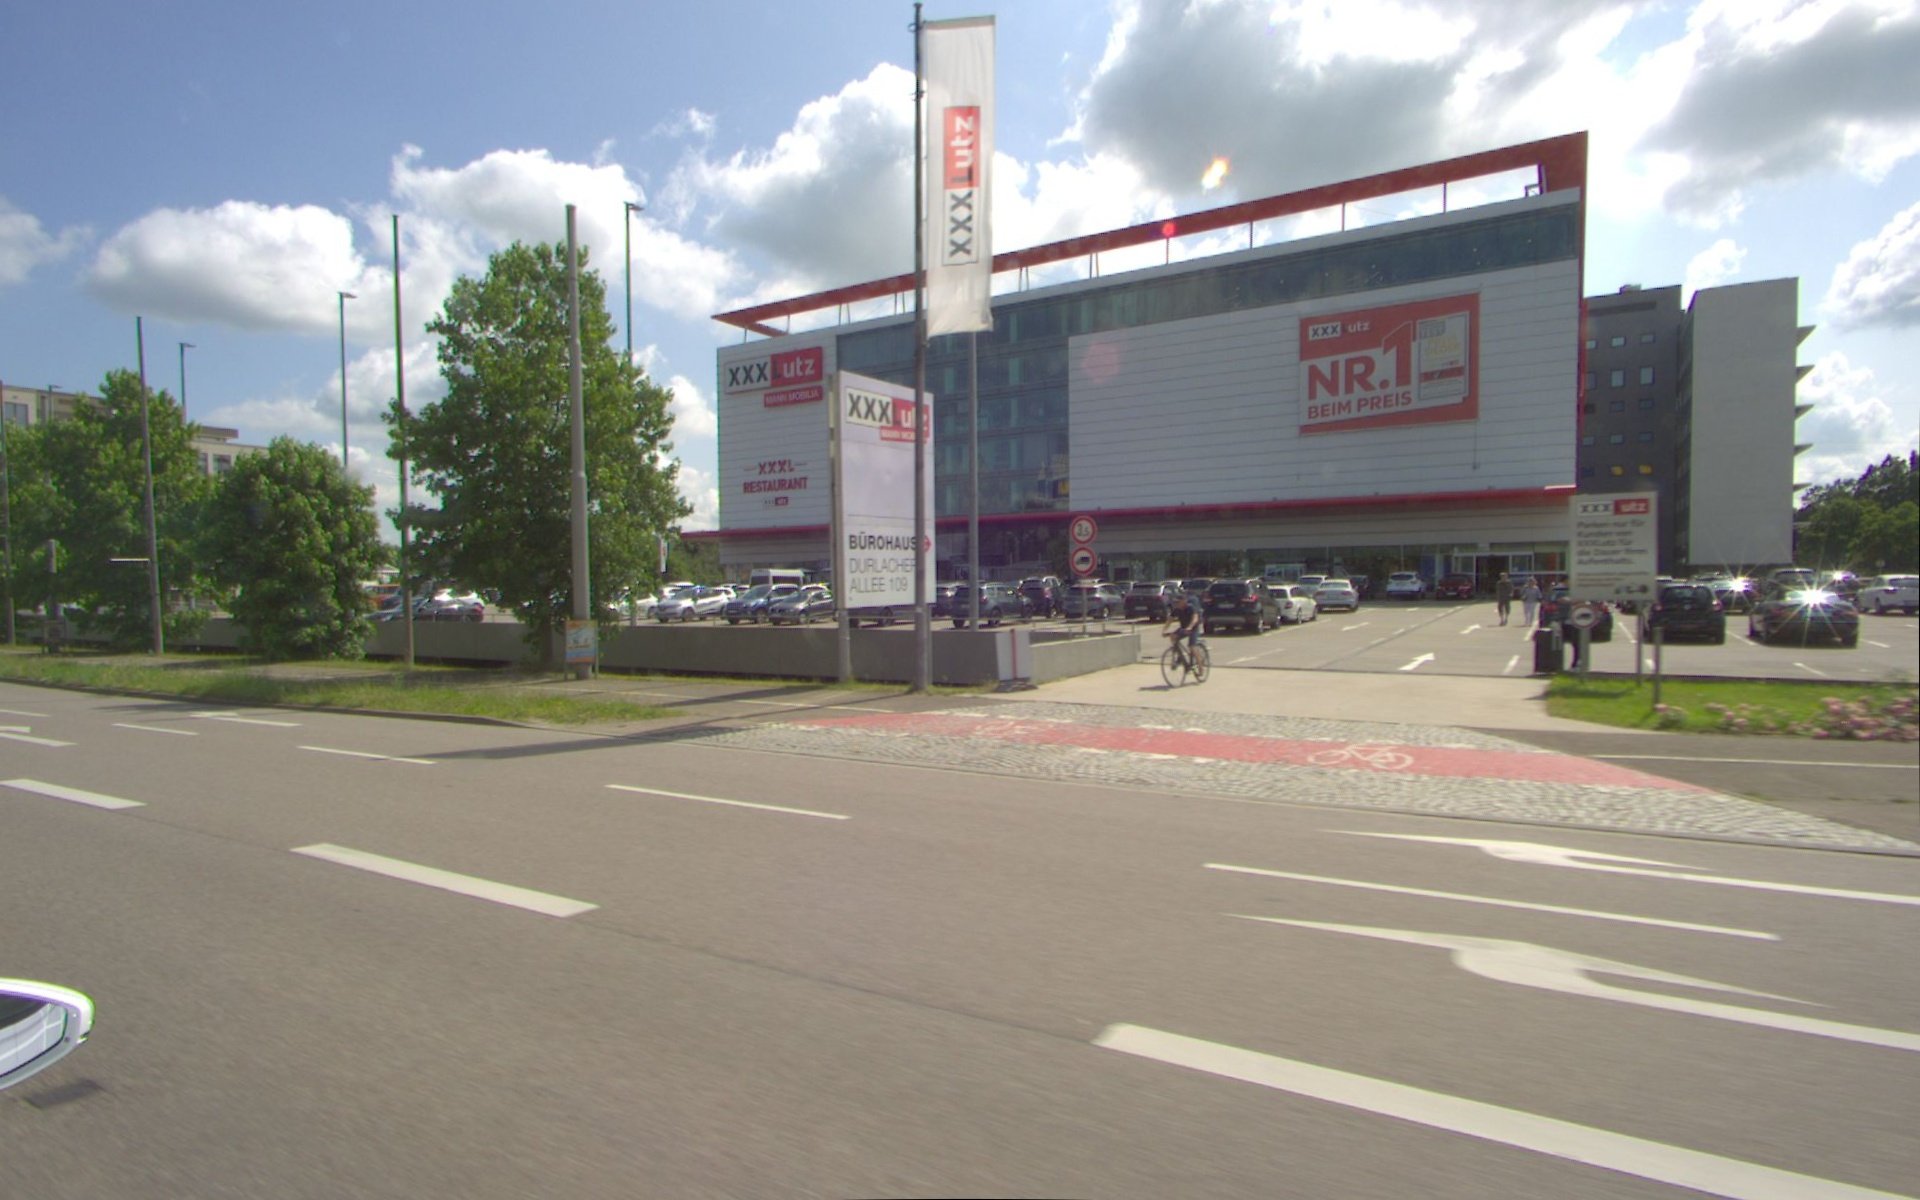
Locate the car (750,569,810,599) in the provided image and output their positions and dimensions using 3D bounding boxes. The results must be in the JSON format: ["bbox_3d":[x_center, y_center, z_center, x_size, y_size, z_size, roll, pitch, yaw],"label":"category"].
[{"bbox_3d":[-12.593,-1.104,70.278,1.971,1.977,3.979,0,0,32],"label":"car"}]

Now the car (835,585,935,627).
[{"bbox_3d":[-3.036,0.212,41.309,2.000,1.595,4.350,0,2,30],"label":"car"}]

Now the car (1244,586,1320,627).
[{"bbox_3d":[12.132,0.205,37.559,1.733,1.447,4.280,2,1,32],"label":"car"}]

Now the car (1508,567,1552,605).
[{"bbox_3d":[31.757,-0.736,55.758,1.971,2.040,3.979,0,0,32],"label":"car"}]

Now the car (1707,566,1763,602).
[{"bbox_3d":[39.660,-0.797,51.302,1.972,1.762,3.977,0,0,34],"label":"car"}]

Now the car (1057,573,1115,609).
[{"bbox_3d":[7.487,-0.488,59.125,1.971,2.040,3.979,0,0,32],"label":"car"}]

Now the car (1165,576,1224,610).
[{"bbox_3d":[12.794,-0.400,54.450,1.971,1.773,3.979,0,1,31],"label":"car"}]

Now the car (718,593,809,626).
[{"bbox_3d":[-8.886,0.423,45.601,1.663,1.343,4.174,0,1,32],"label":"car"}]

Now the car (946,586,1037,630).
[{"bbox_3d":[1.294,0.279,39.097,1.738,1.574,4.174,0,2,30],"label":"car"}]

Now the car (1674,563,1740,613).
[{"bbox_3d":[32.172,-0.487,43.210,1.971,2.040,3.979,0,0,32],"label":"car"}]

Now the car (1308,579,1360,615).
[{"bbox_3d":[17.164,-0.180,45.842,1.679,1.532,4.147,0,2,28],"label":"car"}]

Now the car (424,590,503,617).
[{"bbox_3d":[-29.693,0.186,59.991,1.721,1.534,3.981,-1,0,30],"label":"car"}]

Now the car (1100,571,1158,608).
[{"bbox_3d":[9.761,-0.572,57.602,1.971,2.040,3.979,0,0,32],"label":"car"}]

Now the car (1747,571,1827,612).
[{"bbox_3d":[33.845,-0.319,41.099,1.971,1.608,4.216,0,0,32],"label":"car"}]

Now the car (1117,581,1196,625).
[{"bbox_3d":[7.955,0.073,40.195,1.787,1.642,4.350,1,2,31],"label":"car"}]

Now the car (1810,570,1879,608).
[{"bbox_3d":[42.822,-0.476,48.570,1.972,1.762,3.977,0,0,34],"label":"car"}]

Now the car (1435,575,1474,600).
[{"bbox_3d":[28.563,-0.672,57.799,1.694,1.361,3.855,0,0,32],"label":"car"}]

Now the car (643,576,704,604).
[{"bbox_3d":[-19.720,-0.671,69.072,1.750,1.862,3.875,0,0,33],"label":"car"}]

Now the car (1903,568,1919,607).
[{"bbox_3d":[38.714,-0.482,39.068,1.890,1.550,3.982,0,0,29],"label":"car"}]

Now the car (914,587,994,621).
[{"bbox_3d":[-0.220,0.174,45.886,1.734,1.483,4.233,0,0,31],"label":"car"}]

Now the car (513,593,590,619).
[{"bbox_3d":[-24.890,0.348,61.111,1.701,1.454,4.174,0,2,31],"label":"car"}]

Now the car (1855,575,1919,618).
[{"bbox_3d":[33.775,-0.097,36.071,1.645,1.471,3.978,0,0,33],"label":"car"}]

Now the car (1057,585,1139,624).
[{"bbox_3d":[5.811,0.206,41.767,1.863,1.519,4.352,-1,-1,30],"label":"car"}]

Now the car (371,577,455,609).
[{"bbox_3d":[-40.030,-0.474,73.393,1.958,2.223,5.152,-1,-1,31],"label":"car"}]

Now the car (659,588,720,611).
[{"bbox_3d":[-18.089,-0.029,67.054,1.718,1.536,3.788,0,0,32],"label":"car"}]

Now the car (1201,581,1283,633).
[{"bbox_3d":[9.250,0.193,32.654,1.715,1.552,4.048,0,2,28],"label":"car"}]

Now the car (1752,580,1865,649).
[{"bbox_3d":[21.310,0.312,25.305,1.659,1.529,4.346,-1,1,33],"label":"car"}]

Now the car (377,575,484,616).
[{"bbox_3d":[-32.839,-0.242,62.255,2.031,2.397,5.650,-1,-1,30],"label":"car"}]

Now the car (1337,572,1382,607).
[{"bbox_3d":[24.145,-0.607,60.469,1.970,2.040,3.981,0,0,30],"label":"car"}]

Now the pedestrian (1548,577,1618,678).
[{"bbox_3d":[11.412,0.489,18.375,0.855,1.806,0.783,0,1,13],"label":"pedestrian"}]

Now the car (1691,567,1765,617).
[{"bbox_3d":[29.547,-0.299,38.641,1.973,1.762,3.976,-1,0,34],"label":"car"}]

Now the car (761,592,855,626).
[{"bbox_3d":[-6.653,0.355,44.216,1.738,1.343,4.350,0,2,30],"label":"car"}]

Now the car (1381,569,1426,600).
[{"bbox_3d":[26.206,-0.864,59.095,1.970,1.746,3.981,0,0,30],"label":"car"}]

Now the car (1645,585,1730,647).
[{"bbox_3d":[19.426,0.355,26.867,1.604,1.462,4.346,1,2,33],"label":"car"}]

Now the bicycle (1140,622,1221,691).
[{"bbox_3d":[3.911,0.964,17.635,0.617,1.082,1.953,0,1,38],"label":"bicycle"}]

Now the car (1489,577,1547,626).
[{"bbox_3d":[19.662,0.038,35.243,1.670,1.609,4.008,1,1,30],"label":"car"}]

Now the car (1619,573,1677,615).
[{"bbox_3d":[27.532,-0.210,40.171,1.825,1.572,4.038,-1,0,33],"label":"car"}]

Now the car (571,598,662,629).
[{"bbox_3d":[-17.364,0.650,50.836,1.864,1.408,4.177,0,2,29],"label":"car"}]

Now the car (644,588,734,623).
[{"bbox_3d":[-13.063,0.246,48.442,1.970,1.592,3.980,-1,1,30],"label":"car"}]

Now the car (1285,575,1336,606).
[{"bbox_3d":[18.395,-0.450,52.439,1.681,1.531,4.332,0,0,31],"label":"car"}]

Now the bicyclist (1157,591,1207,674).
[{"bbox_3d":[3.907,0.558,17.626,0.609,1.432,0.709,0,1,38],"label":"bicyclist"}]

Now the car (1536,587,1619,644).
[{"bbox_3d":[17.451,0.375,28.203,1.820,1.381,4.346,2,3,33],"label":"car"}]

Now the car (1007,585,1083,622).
[{"bbox_3d":[3.716,0.120,43.089,1.702,1.484,3.979,0,2,31],"label":"car"}]

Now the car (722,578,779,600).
[{"bbox_3d":[-15.005,-0.771,71.944,1.883,1.453,3.787,-1,0,32],"label":"car"}]

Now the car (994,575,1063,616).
[{"bbox_3d":[3.585,-0.191,51.936,1.971,2.040,3.979,0,0,32],"label":"car"}]

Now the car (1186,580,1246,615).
[{"bbox_3d":[12.665,-0.164,49.417,1.825,1.609,4.217,0,2,30],"label":"car"}]

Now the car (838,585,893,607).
[{"bbox_3d":[-6.367,-0.225,67.848,1.605,1.439,3.980,0,0,31],"label":"car"}]
